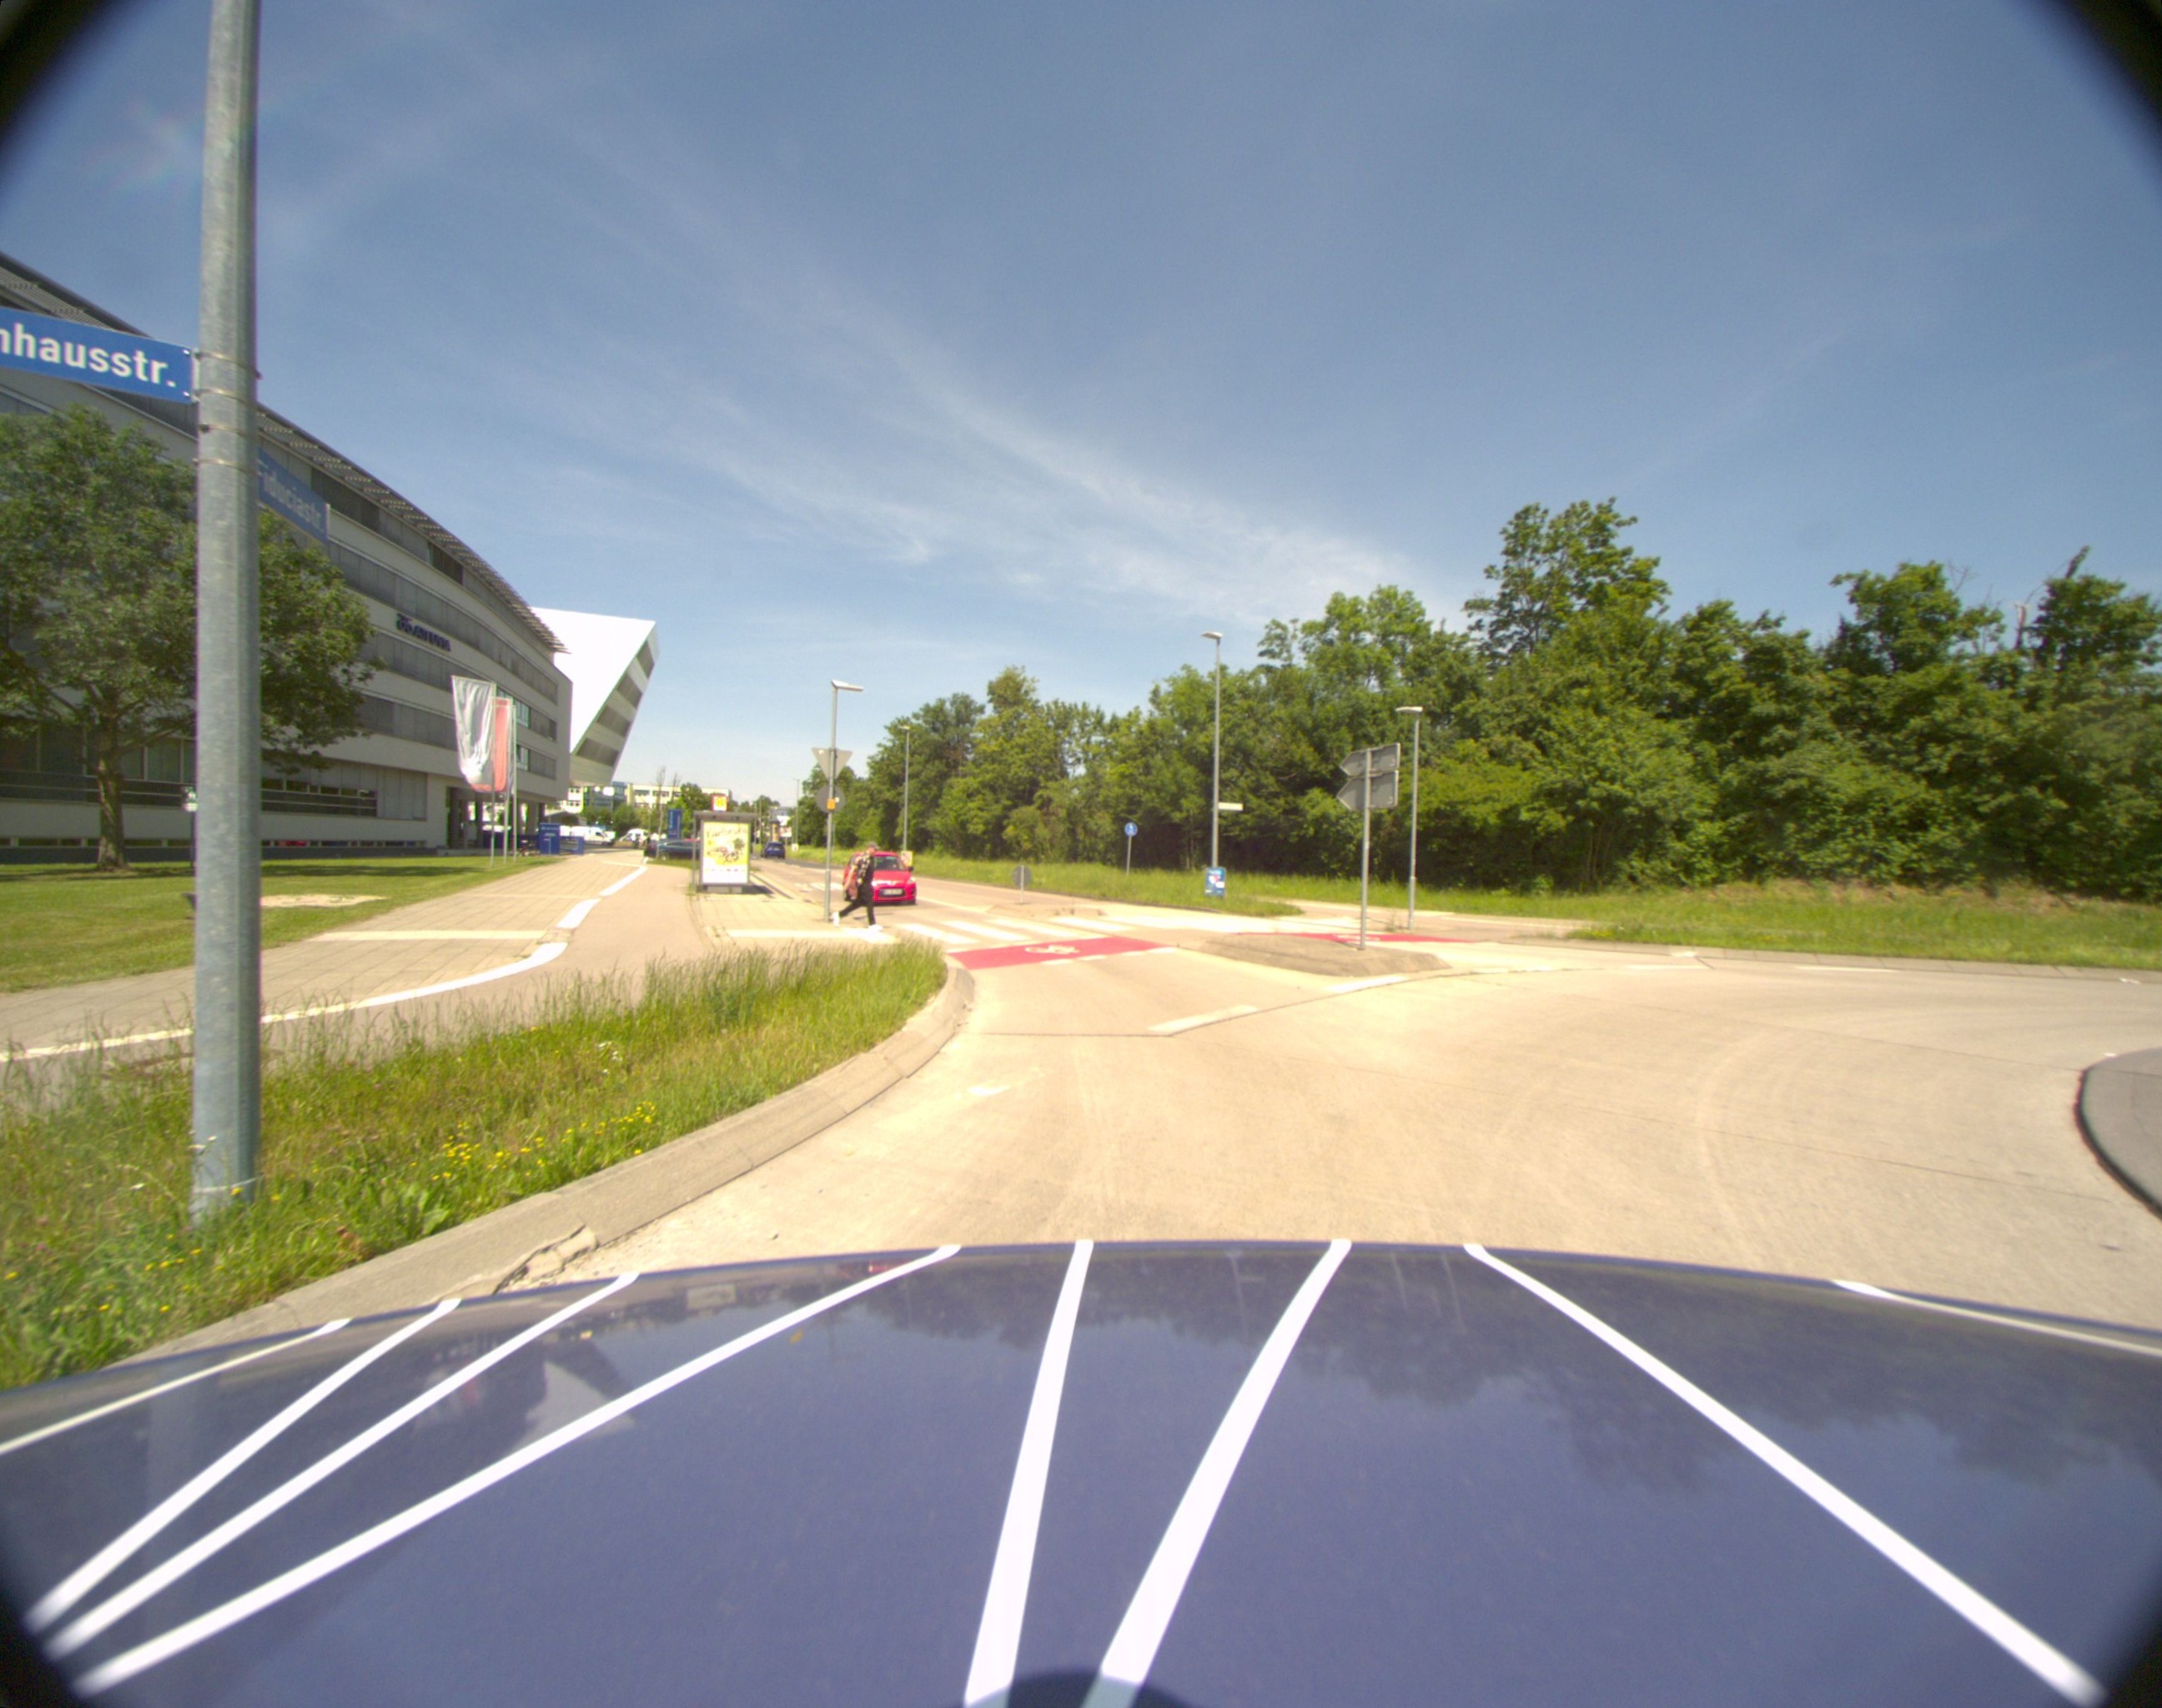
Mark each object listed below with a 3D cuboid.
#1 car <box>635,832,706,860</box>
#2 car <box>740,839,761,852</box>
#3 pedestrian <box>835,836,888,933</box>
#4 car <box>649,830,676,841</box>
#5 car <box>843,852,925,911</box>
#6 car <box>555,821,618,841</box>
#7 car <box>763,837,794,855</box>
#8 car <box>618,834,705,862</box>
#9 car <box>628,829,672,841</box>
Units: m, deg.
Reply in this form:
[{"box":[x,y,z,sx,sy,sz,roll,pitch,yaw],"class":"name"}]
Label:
[{"box":[-26.907,-0.512,49.897,4.006,1.645,1.834,2,1,-27],"class":"car"},{"box":[-42.583,-1.090,97.929,2.003,1.470,4.278,2,-1,-29],"class":"car"},{"box":[-4.239,0.576,14.647,0.711,1.811,0.824,3,1,-28],"class":"pedestrian"},{"box":[-77.350,-3.505,140.430,4.214,1.964,1.699,0,2,-22],"class":"car"},{"box":[-5.880,0.740,22.421,1.665,1.495,3.348,0,2,-27],"class":"car"},{"box":[-69.487,-3.183,106.894,6.978,2.647,2.250,0,2,-20],"class":"car"},{"box":[-28.841,-0.694,72.389,2.004,1.586,4.311,2,-1,-32],"class":"car"},{"box":[-25.993,-0.349,47.203,4.591,1.423,1.822,3,0,-30],"class":"car"},{"box":[-76.253,-3.326,134.507,6.507,2.137,2.160,0,2,-22],"class":"car"}]
